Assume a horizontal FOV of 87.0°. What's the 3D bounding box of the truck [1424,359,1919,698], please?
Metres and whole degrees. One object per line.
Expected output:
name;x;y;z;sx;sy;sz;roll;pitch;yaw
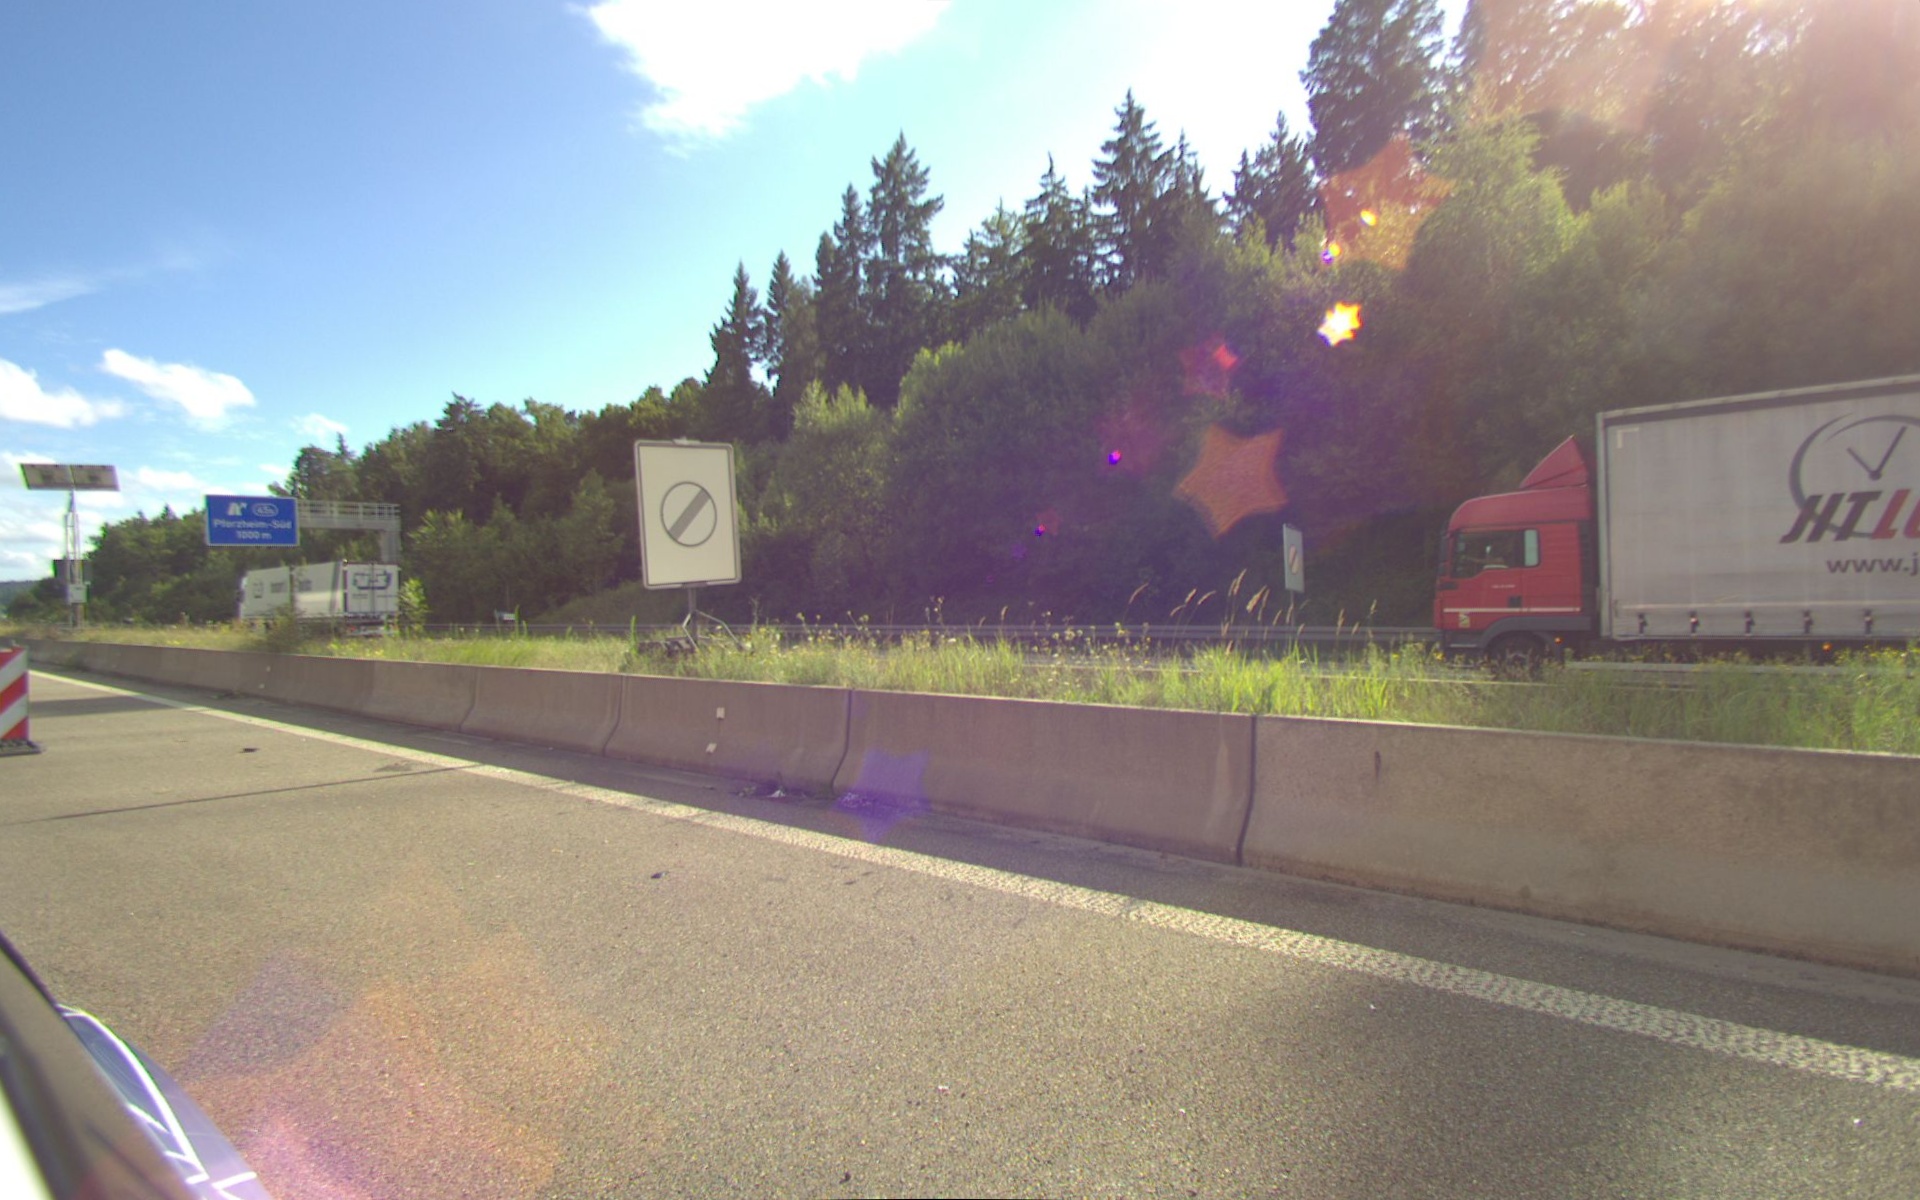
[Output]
truck;11.962;-0.849;13.396;10.180;4.022;2.771;-1;-1;41

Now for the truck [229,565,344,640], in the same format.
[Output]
truck;-39.079;0.183;58.519;10.856;4.015;2.754;-1;0;41

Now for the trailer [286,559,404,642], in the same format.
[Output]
trailer;-31.797;0.078;52.126;8.484;3.953;2.762;-1;0;41
